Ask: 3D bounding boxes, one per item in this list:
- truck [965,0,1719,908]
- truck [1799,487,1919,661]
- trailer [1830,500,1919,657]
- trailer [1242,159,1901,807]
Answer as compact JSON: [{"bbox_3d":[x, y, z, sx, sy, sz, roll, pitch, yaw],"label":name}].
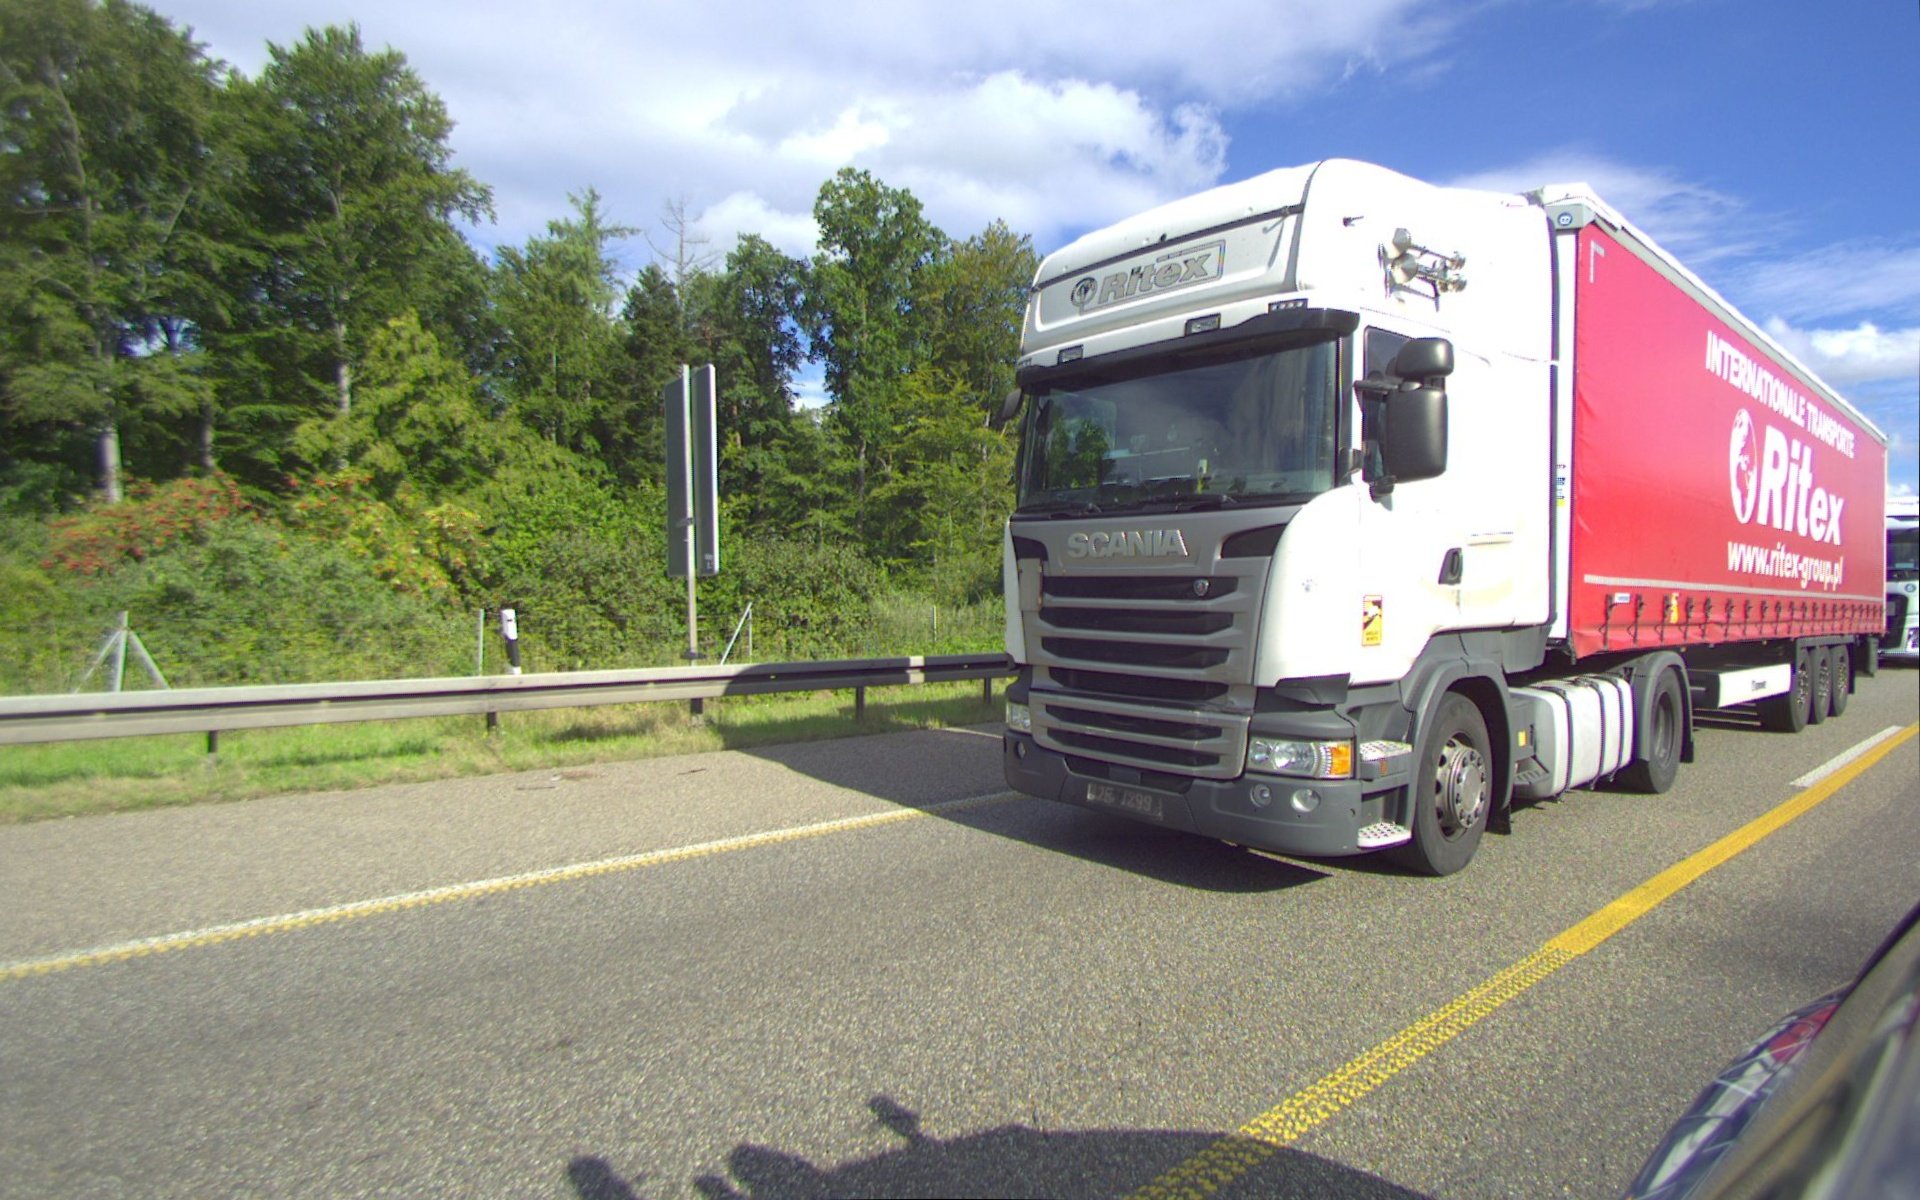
[{"bbox_3d":[3.004,-0.732,7.110,5.611,4.010,2.672,0,0,-42],"label":"truck"},{"bbox_3d":[22.722,-0.596,24.650,5.686,3.828,2.500,0,0,-39],"label":"truck"},{"bbox_3d":[27.599,-0.538,28.731,11.919,3.822,2.476,0,0,-40],"label":"trailer"},{"bbox_3d":[8.133,-0.742,11.666,13.184,4.019,2.704,0,0,-41],"label":"trailer"}]
